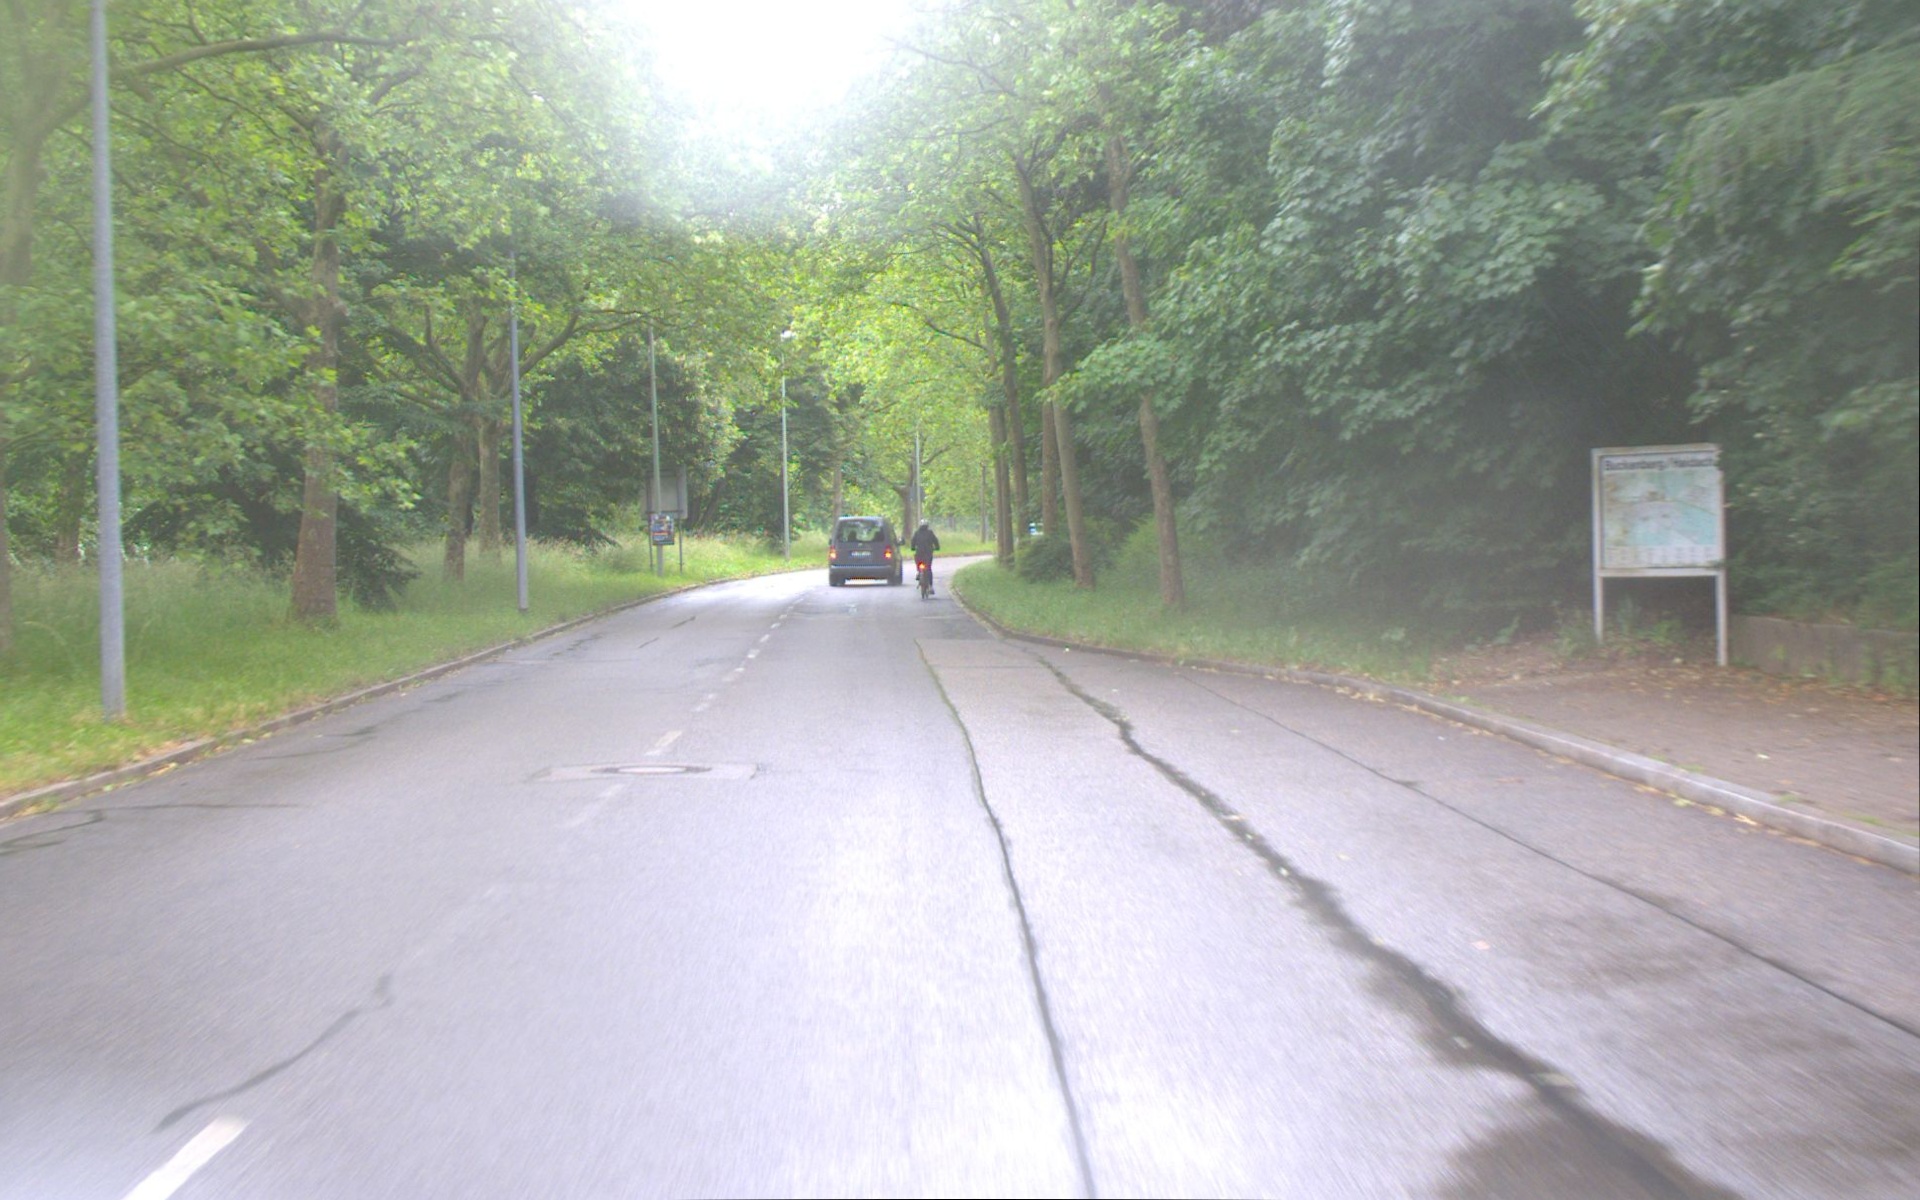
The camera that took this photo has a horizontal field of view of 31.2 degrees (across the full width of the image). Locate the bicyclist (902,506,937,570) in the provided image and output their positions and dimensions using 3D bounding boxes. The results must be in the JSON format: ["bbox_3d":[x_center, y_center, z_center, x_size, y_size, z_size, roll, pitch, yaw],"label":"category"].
[{"bbox_3d":[-0.898,-1.371,76.028,0.730,1.406,0.973,1,1,2],"label":"bicyclist"}]

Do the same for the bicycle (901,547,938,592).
[{"bbox_3d":[-0.897,-0.682,76.161,0.730,0.970,2.173,1,1,2],"label":"bicycle"}]

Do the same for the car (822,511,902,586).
[{"bbox_3d":[-2.629,-1.386,91.475,1.985,1.919,4.001,-1,1,-3],"label":"car"}]
